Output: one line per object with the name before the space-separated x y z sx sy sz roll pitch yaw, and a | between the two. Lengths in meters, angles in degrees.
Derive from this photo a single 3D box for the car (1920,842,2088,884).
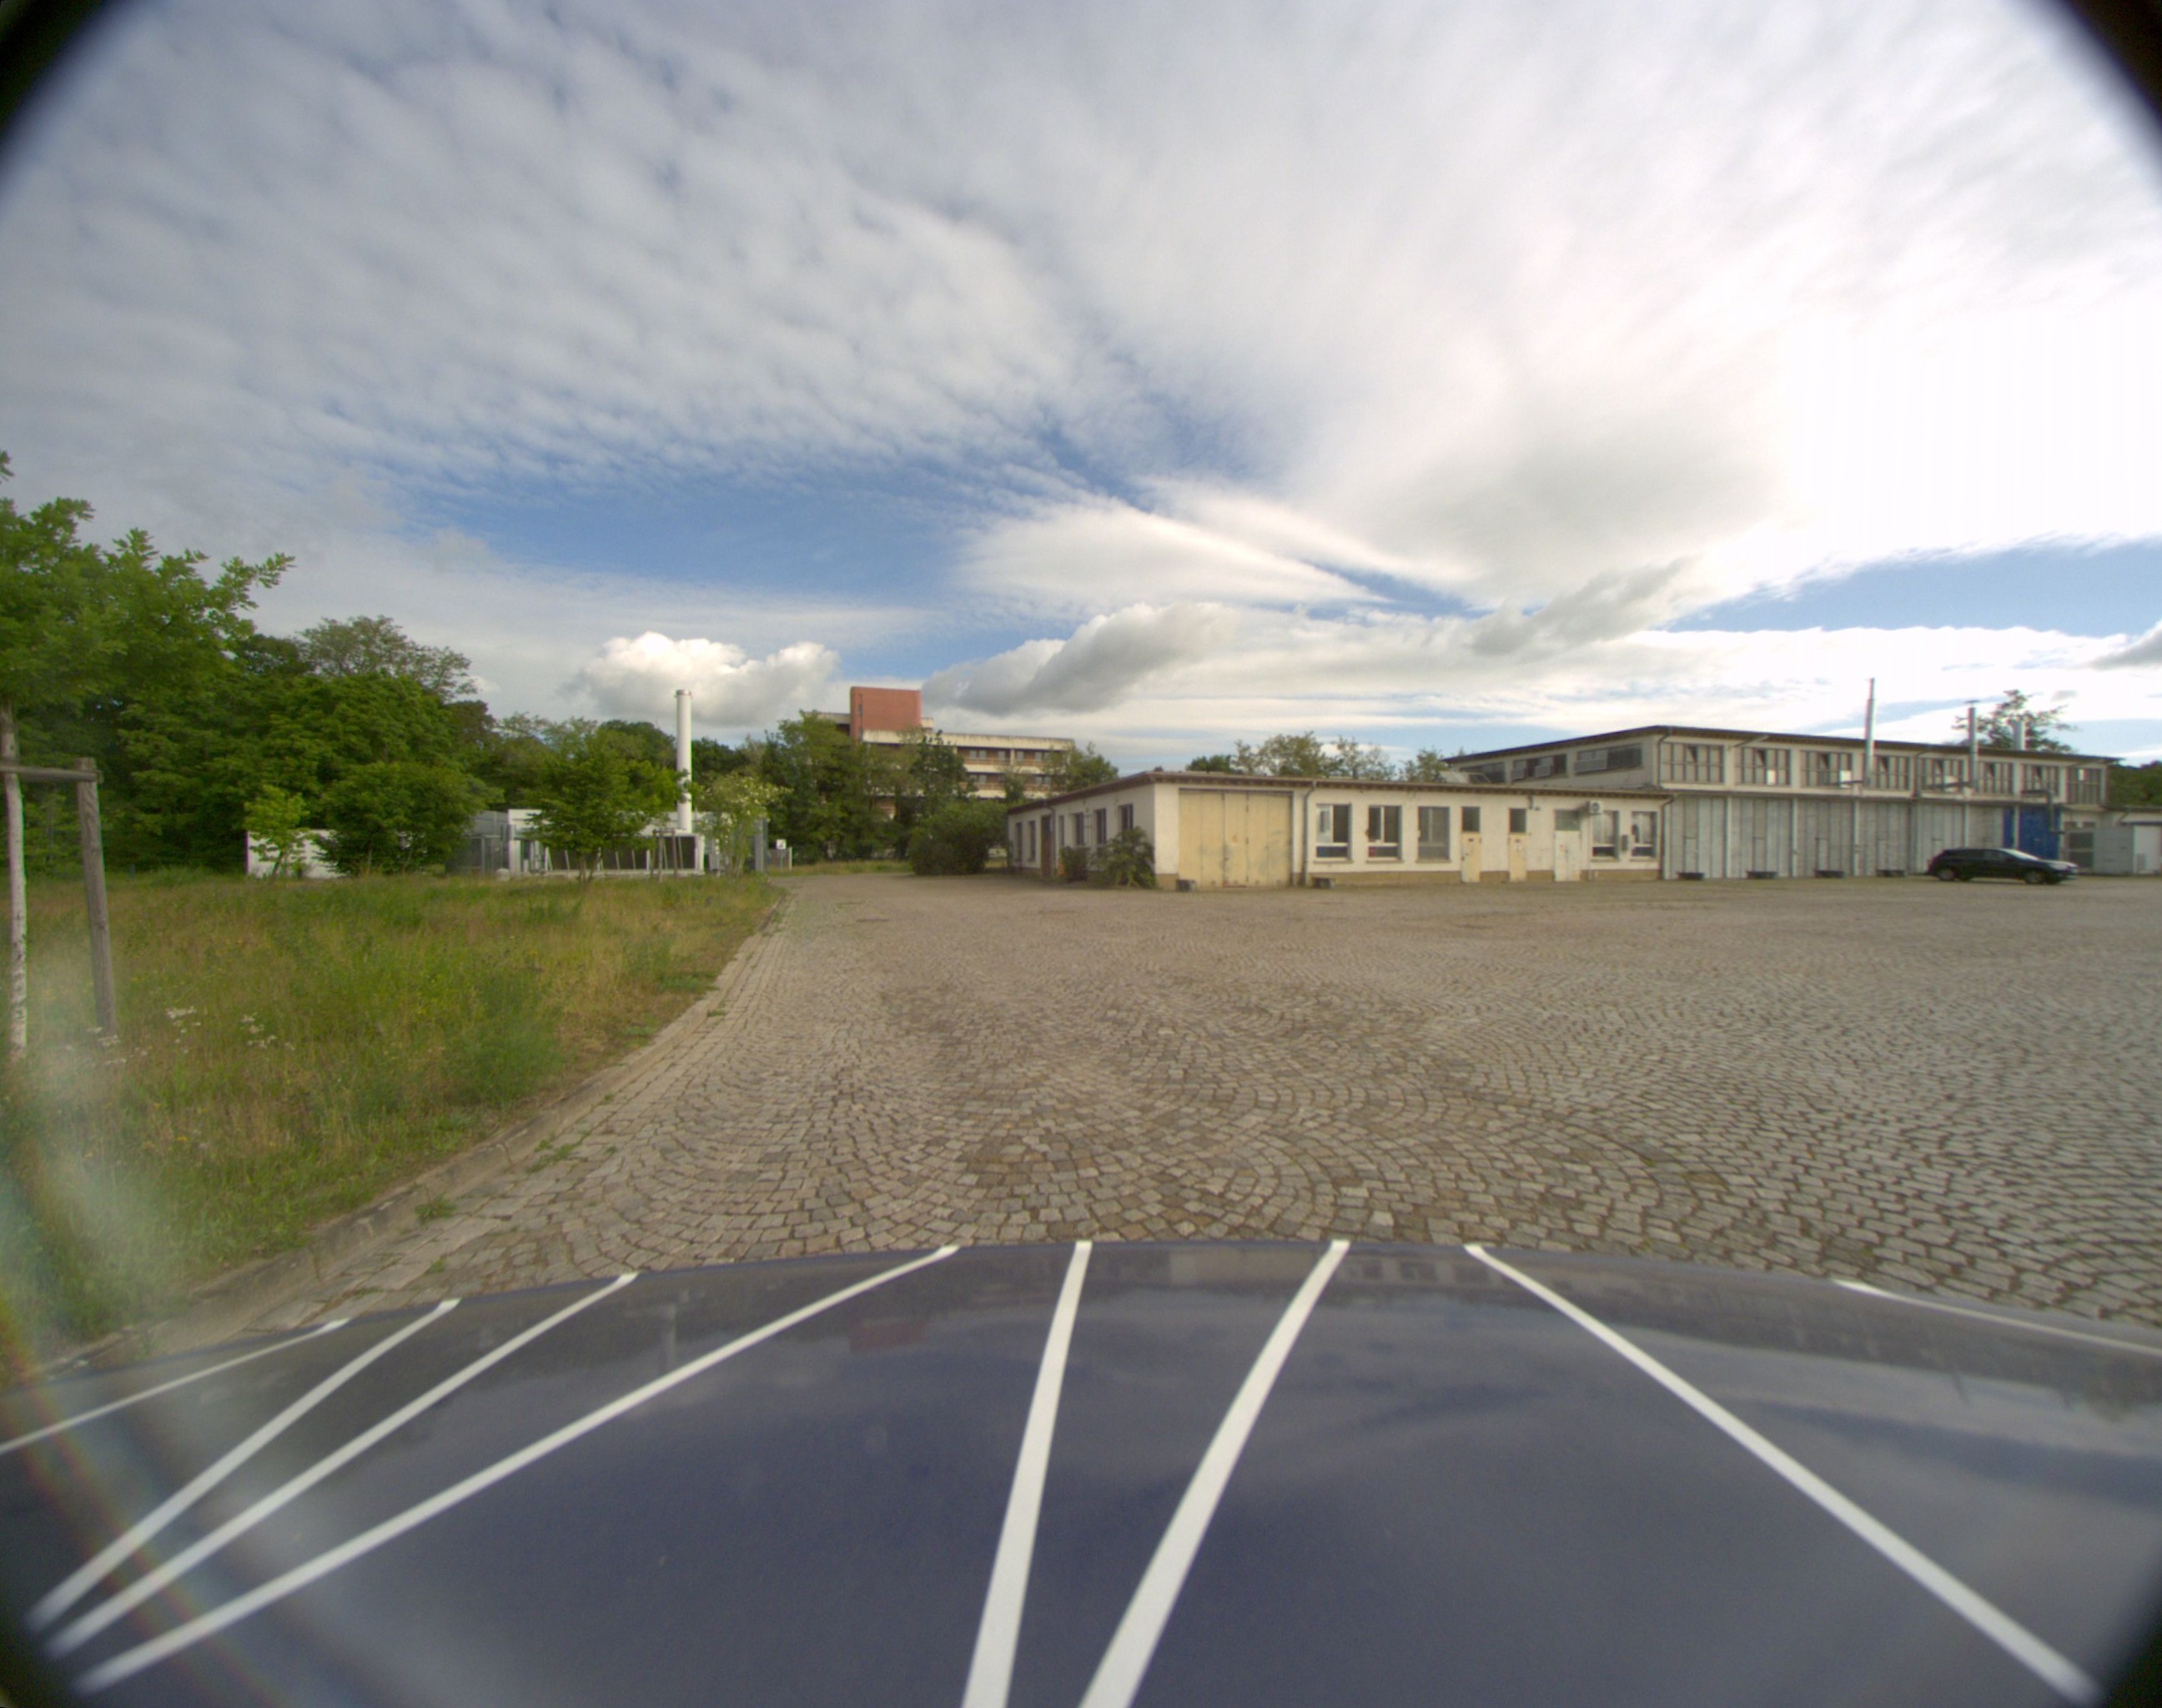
car | 42.267 0.402 34.952 2.002 1.746 4.428 3 0 -19
